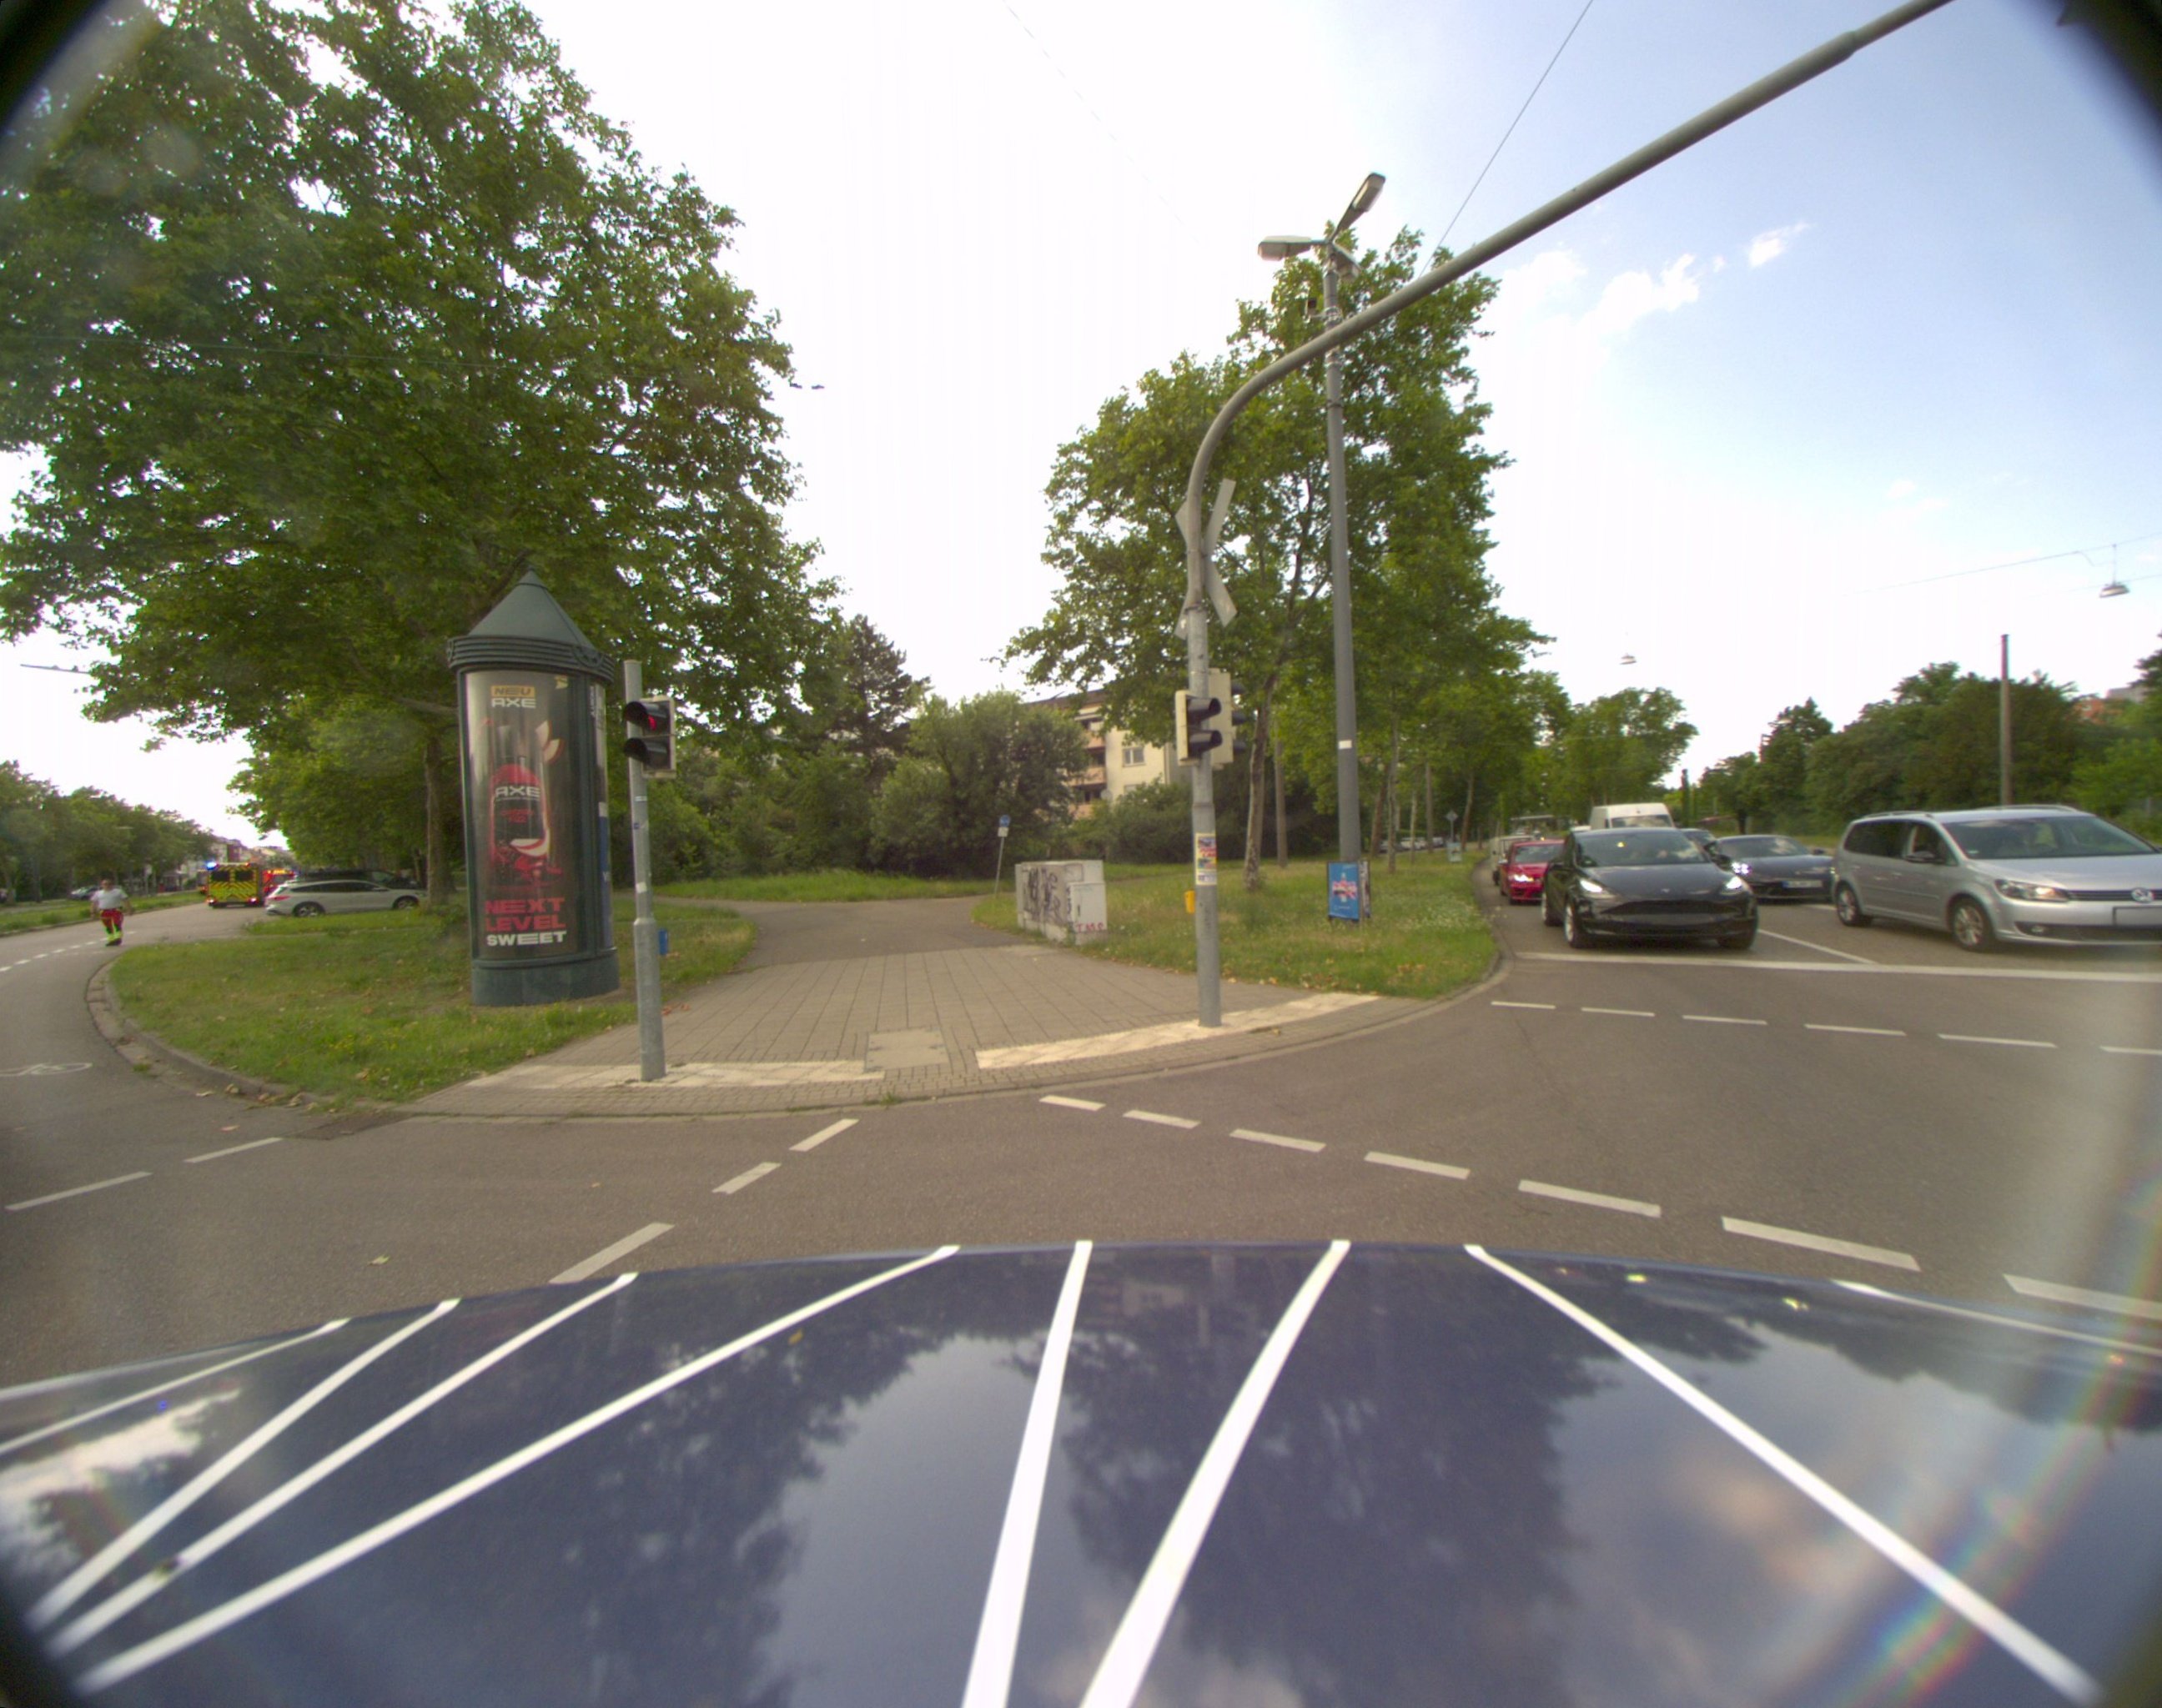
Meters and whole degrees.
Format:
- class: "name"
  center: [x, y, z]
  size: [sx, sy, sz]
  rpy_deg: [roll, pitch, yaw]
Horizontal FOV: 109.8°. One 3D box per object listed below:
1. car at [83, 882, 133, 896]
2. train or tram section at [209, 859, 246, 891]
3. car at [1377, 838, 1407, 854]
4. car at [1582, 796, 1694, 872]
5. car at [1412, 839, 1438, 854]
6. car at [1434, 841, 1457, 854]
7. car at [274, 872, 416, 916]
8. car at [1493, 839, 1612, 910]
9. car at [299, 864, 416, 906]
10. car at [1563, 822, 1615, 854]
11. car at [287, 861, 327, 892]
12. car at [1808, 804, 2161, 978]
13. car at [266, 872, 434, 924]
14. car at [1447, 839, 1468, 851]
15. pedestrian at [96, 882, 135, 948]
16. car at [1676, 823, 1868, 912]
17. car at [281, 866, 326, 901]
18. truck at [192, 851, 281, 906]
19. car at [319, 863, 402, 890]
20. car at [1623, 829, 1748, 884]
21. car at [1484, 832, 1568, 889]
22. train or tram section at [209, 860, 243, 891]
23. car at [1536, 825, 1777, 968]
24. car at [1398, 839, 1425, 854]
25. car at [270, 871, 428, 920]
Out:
- class: "car"
  center: [-137.200, 4.947, 107.177]
  size: [1.818, 1.827, 4.005]
  rpy_deg: [-2, -1, 15]
- class: "train or tram section"
  center: [-99.214, 2.437, 88.285]
  size: [7.400, 3.576, 2.500]
  rpy_deg: [-1, 1, 40]
- class: "car"
  center: [32.267, -0.850, 78.836]
  size: [1.772, 1.586, 3.664]
  rpy_deg: [-2, -1, 41]
- class: "car"
  center: [21.266, -0.747, 29.338]
  size: [2.222, 2.515, 5.942]
  rpy_deg: [-4, 0, 25]
- class: "car"
  center: [40.554, -0.859, 89.460]
  size: [1.772, 1.586, 3.664]
  rpy_deg: [-2, -1, 41]
- class: "car"
  center: [47.181, -0.860, 98.304]
  size: [1.772, 1.586, 3.664]
  rpy_deg: [-2, -1, 41]
- class: "car"
  center: [-33.974, 1.802, 35.178]
  size: [1.995, 1.634, 4.552]
  rpy_deg: [-3, 0, 44]
- class: "car"
  center: [11.146, 0.418, 18.264]
  size: [1.798, 1.383, 4.508]
  rpy_deg: [-4, 0, 25]
- class: "car"
  center: [-40.377, 1.715, 42.539]
  size: [4.565, 2.002, 1.995]
  rpy_deg: [-3, 1, -43]
- class: "car"
  center: [28.924, -0.922, 43.381]
  size: [1.760, 1.637, 4.350]
  rpy_deg: [-2, 1, 25]
- class: "car"
  center: [-86.945, 2.491, 85.393]
  size: [7.439, 3.310, 2.981]
  rpy_deg: [-2, -1, 45]
- class: "car"
  center: [11.257, 0.305, 9.340]
  size: [1.926, 1.642, 4.508]
  rpy_deg: [-4, 0, 25]
- class: "car"
  center: [-28.461, 1.660, 29.735]
  size: [1.995, 1.634, 4.552]
  rpy_deg: [-3, 0, 44]
- class: "car"
  center: [51.891, -1.197, 104.657]
  size: [1.772, 1.586, 3.664]
  rpy_deg: [-2, -1, 41]
- class: "pedestrian"
  center: [-25.391, 1.596, 19.985]
  size: [0.586, 1.674, 0.495]
  rpy_deg: [-2, 0, 30]
- class: "car"
  center: [13.856, 0.204, 15.542]
  size: [1.800, 1.499, 4.006]
  rpy_deg: [-4, 0, 26]
- class: "car"
  center: [-77.975, 2.939, 76.276]
  size: [7.439, 3.297, 2.981]
  rpy_deg: [-2, -1, 45]
- class: "truck"
  center: [-56.691, 1.588, 51.232]
  size: [3.200, 3.298, 7.502]
  rpy_deg: [-3, 1, -43]
- class: "car"
  center: [-93.096, 2.863, 98.288]
  size: [2.967, 3.310, 7.475]
  rpy_deg: [-2, -1, 41]
- class: "car"
  center: [17.318, 0.012, 22.008]
  size: [1.761, 1.367, 4.350]
  rpy_deg: [-4, 0, 25]
- class: "car"
  center: [14.082, 0.147, 24.276]
  size: [1.798, 1.560, 4.508]
  rpy_deg: [-4, 0, 25]
- class: "train or tram section"
  center: [-104.809, 2.651, 93.091]
  size: [7.400, 3.576, 2.500]
  rpy_deg: [-1, 1, 41]
- class: "car"
  center: [8.059, 0.468, 11.154]
  size: [1.927, 1.642, 4.587]
  rpy_deg: [-4, 0, 26]
- class: "car"
  center: [37.497, -0.845, 86.257]
  size: [1.772, 1.586, 3.664]
  rpy_deg: [-2, -1, 41]
- class: "car"
  center: [-30.285, 1.671, 31.558]
  size: [1.995, 1.634, 4.552]
  rpy_deg: [-3, 0, 44]
